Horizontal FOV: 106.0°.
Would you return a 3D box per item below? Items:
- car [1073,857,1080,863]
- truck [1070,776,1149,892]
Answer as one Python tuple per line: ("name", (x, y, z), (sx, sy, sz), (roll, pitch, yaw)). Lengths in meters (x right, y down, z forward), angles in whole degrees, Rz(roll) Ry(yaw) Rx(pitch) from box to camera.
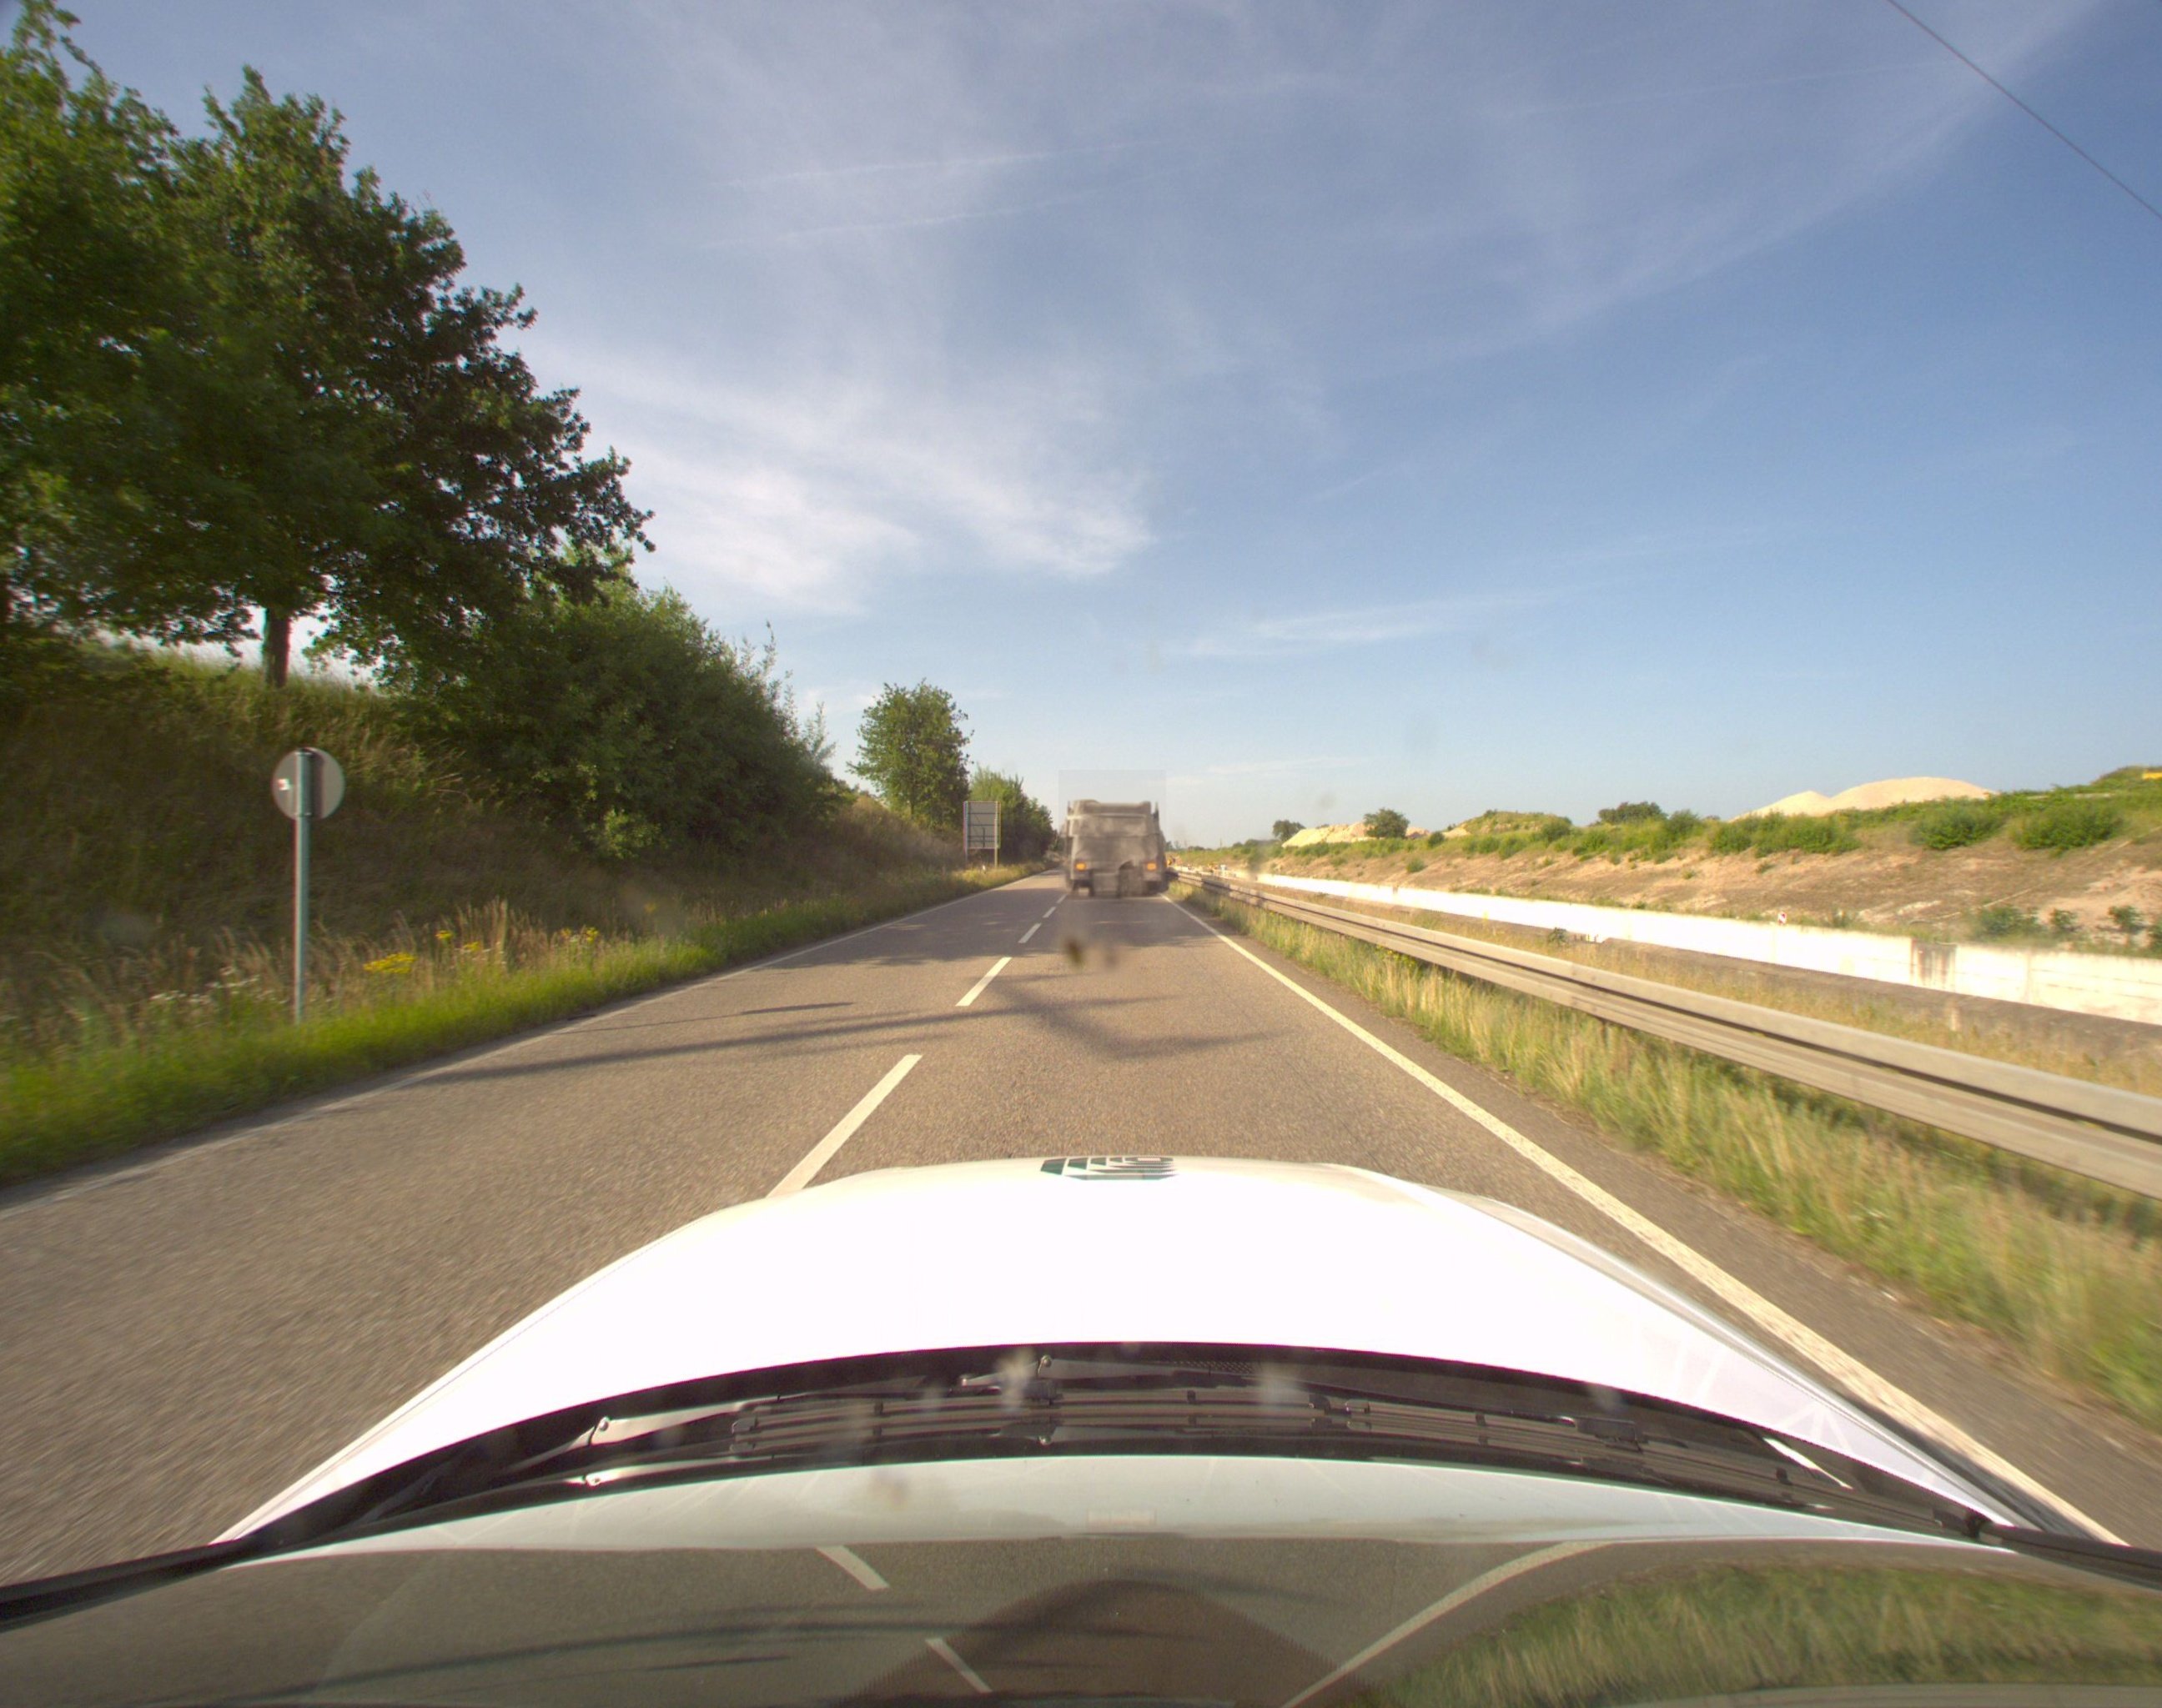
("car", (-1.120, 1.566, 207.771), (1.739, 1.564, 4.365), (0, 0, 0))
("truck", (1.210, -0.809, 37.307), (3.142, 4.688, 8.441), (-1, 0, 0))
